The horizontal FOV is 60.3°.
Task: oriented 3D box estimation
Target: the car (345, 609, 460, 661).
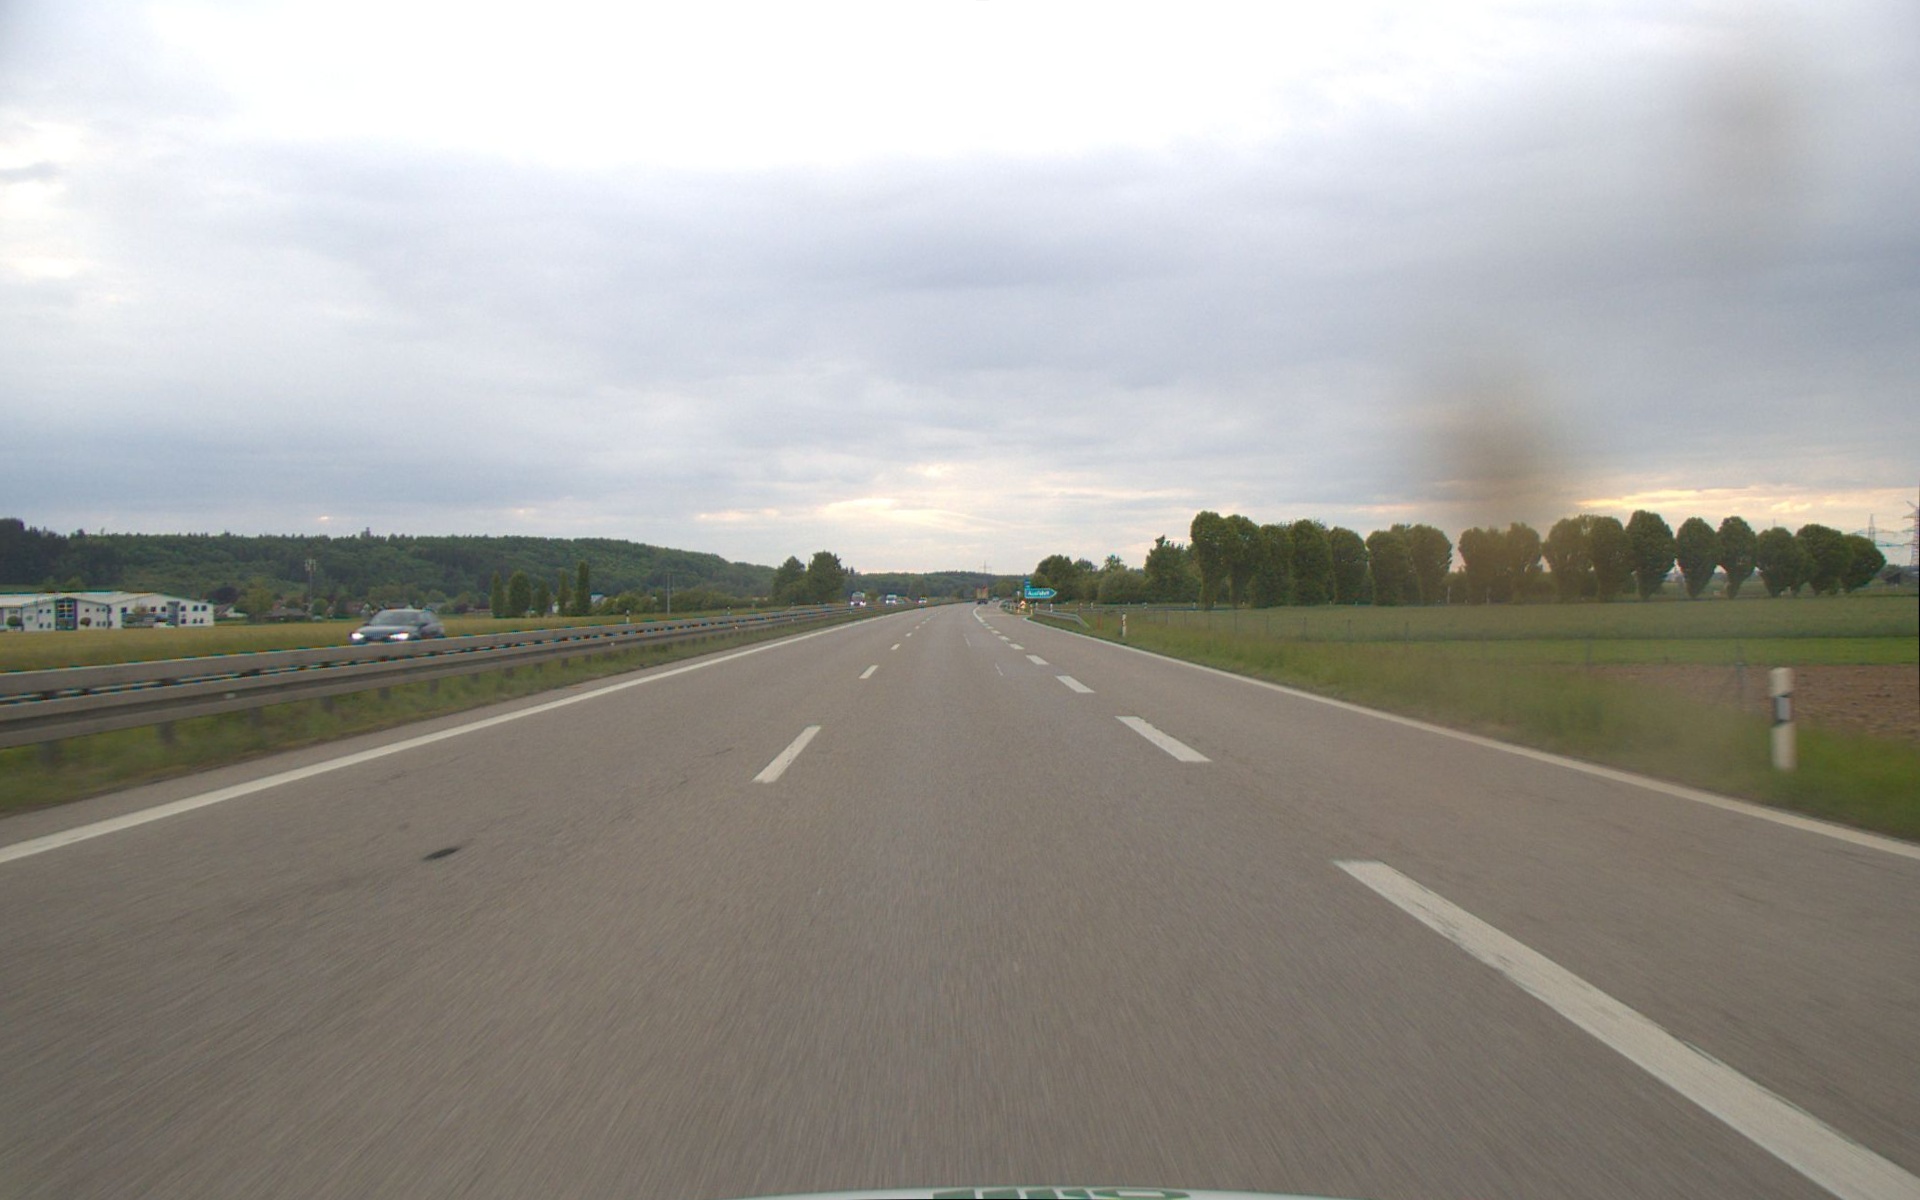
[{"bbox_3d":[-16.707,1.019,49.772,1.953,1.441,4.523,1,0,-1],"label":"car"}]
